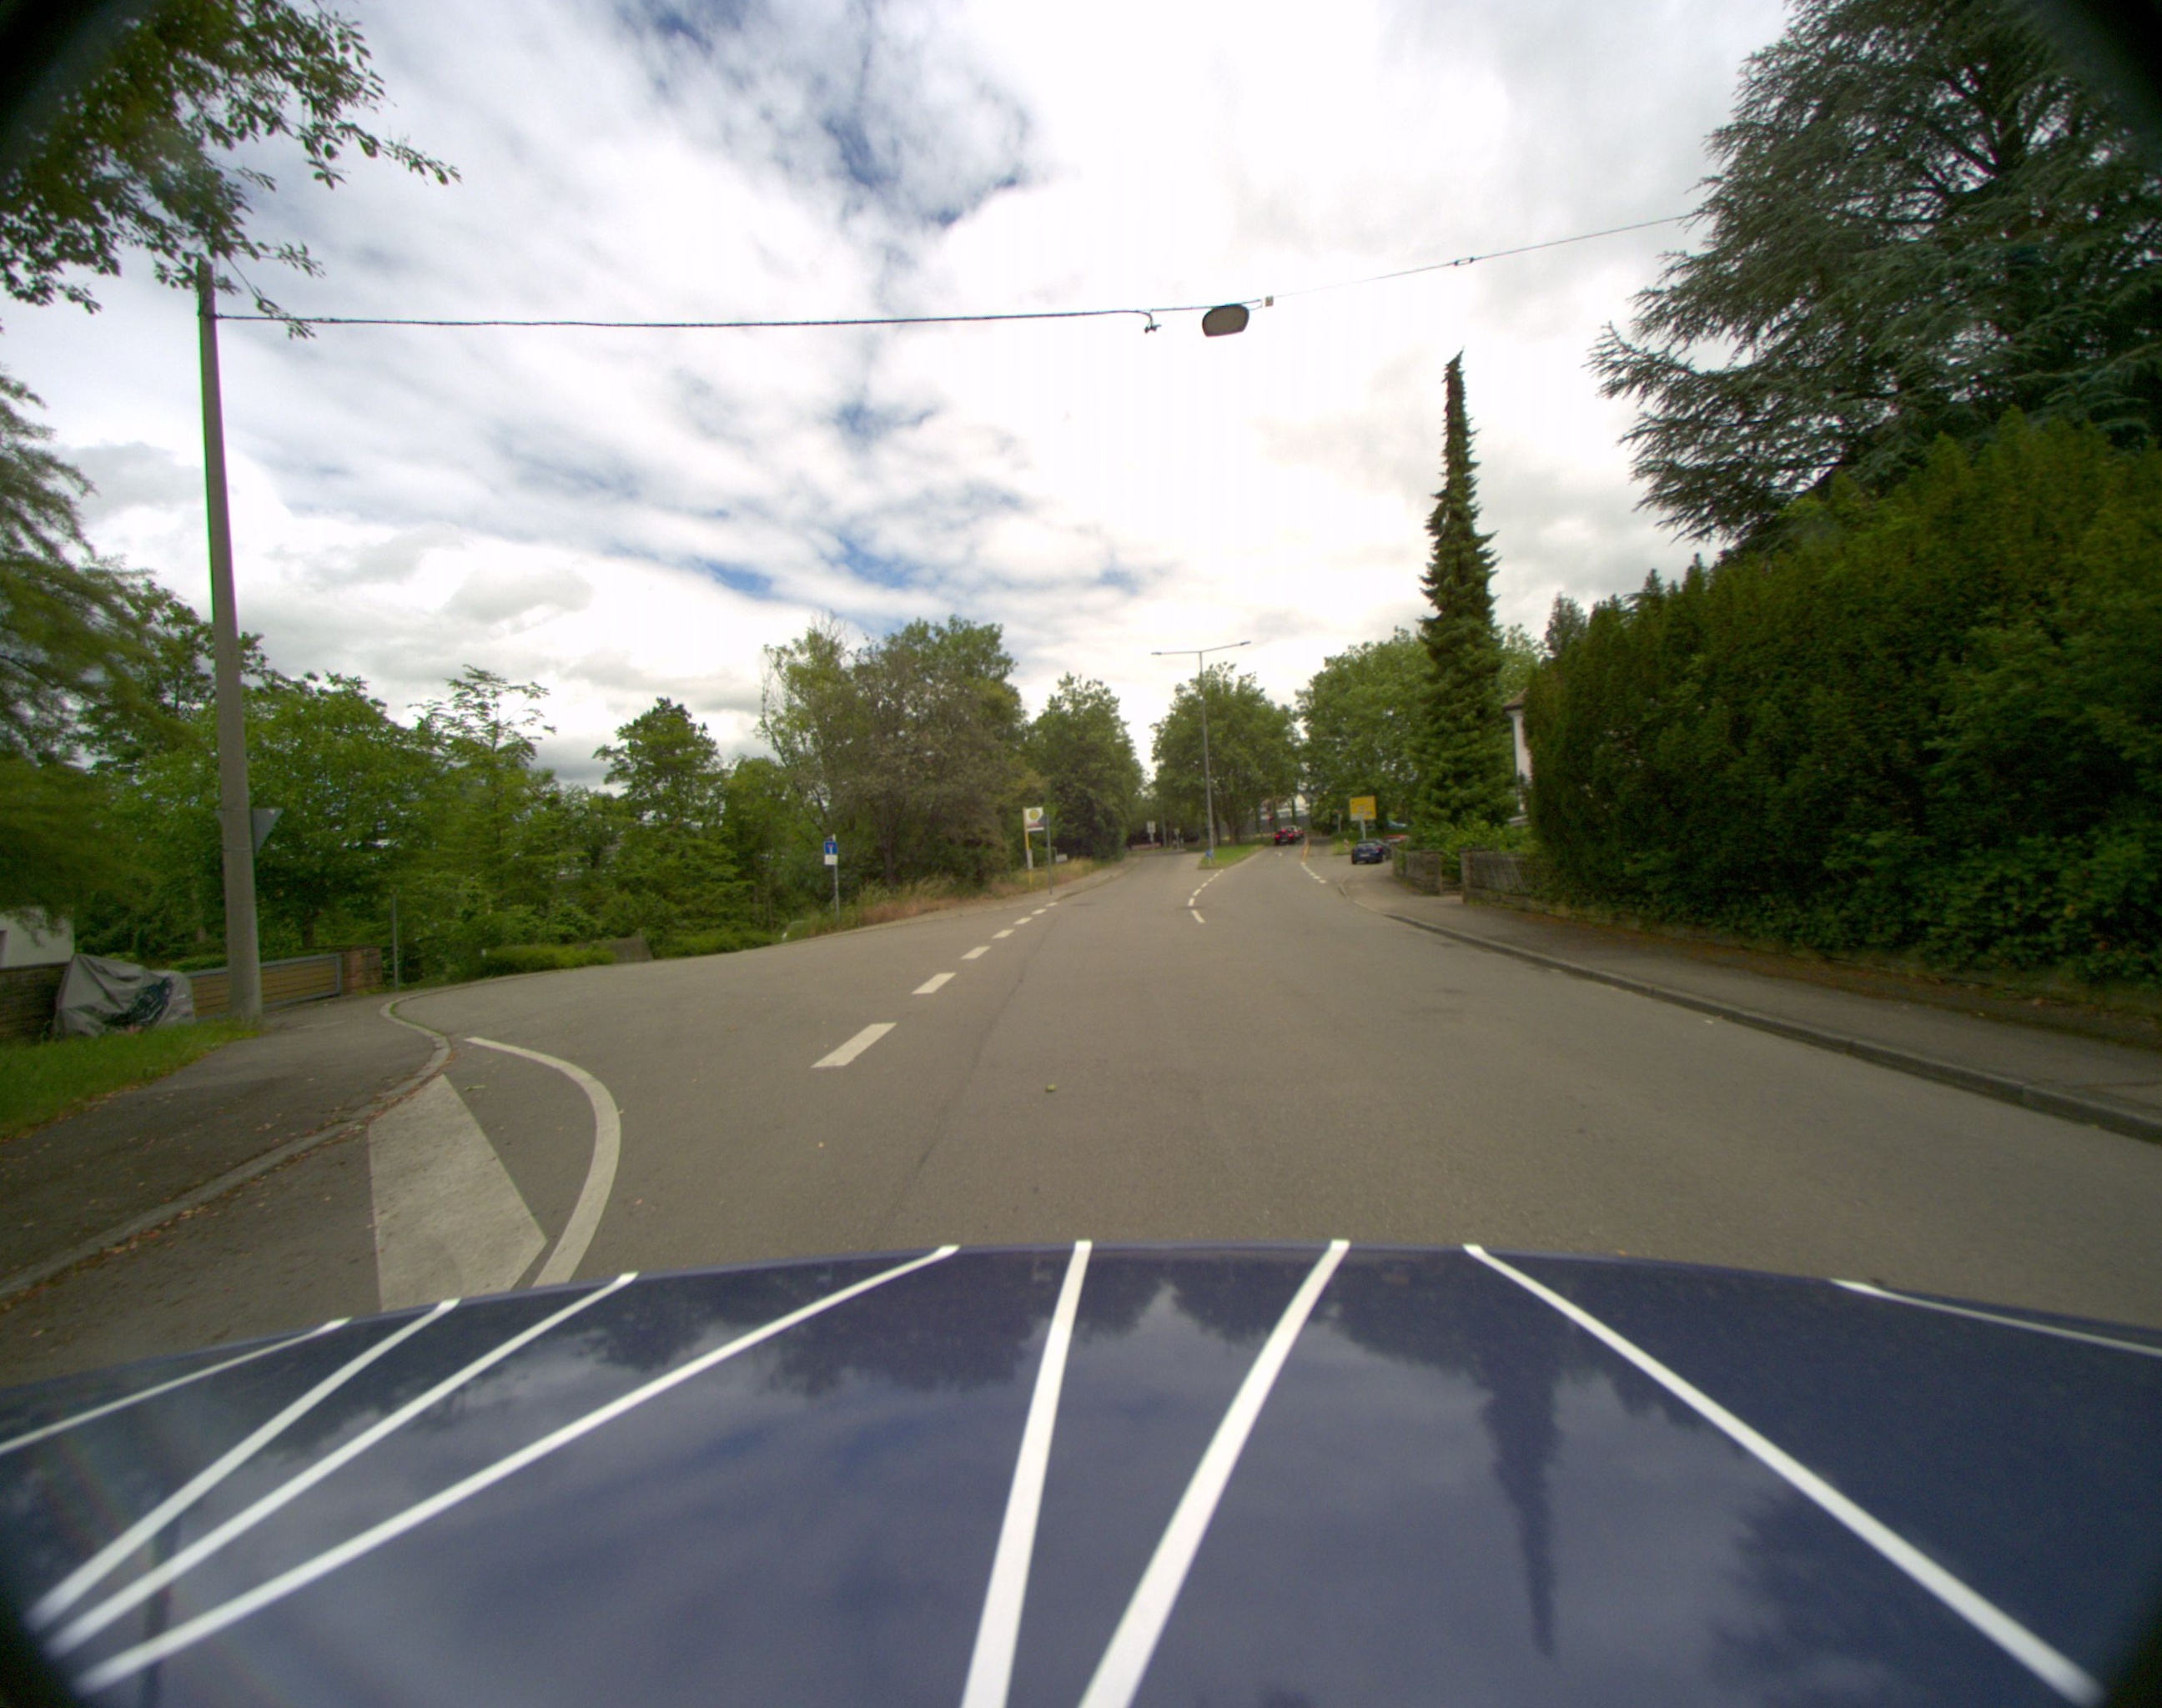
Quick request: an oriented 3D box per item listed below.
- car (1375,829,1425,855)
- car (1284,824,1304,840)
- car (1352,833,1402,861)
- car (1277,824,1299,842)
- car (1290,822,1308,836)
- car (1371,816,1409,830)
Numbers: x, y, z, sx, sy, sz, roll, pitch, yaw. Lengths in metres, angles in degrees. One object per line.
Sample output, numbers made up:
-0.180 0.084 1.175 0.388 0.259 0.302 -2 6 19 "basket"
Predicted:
20.626 -0.801 49.068 1.728 1.465 4.286 -2 1 40 "car"
24.730 -2.522 88.159 1.854 1.648 4.914 -3 -2 19 "car"
17.445 -0.449 44.671 1.728 1.465 4.322 -2 1 35 "car"
21.500 -2.239 78.800 1.759 1.583 4.617 -3 2 19 "car"
27.020 -3.116 94.170 1.759 1.508 4.392 -3 1 19 "car"
39.784 -4.008 97.821 1.801 1.419 4.137 1 -4 -41 "car"
